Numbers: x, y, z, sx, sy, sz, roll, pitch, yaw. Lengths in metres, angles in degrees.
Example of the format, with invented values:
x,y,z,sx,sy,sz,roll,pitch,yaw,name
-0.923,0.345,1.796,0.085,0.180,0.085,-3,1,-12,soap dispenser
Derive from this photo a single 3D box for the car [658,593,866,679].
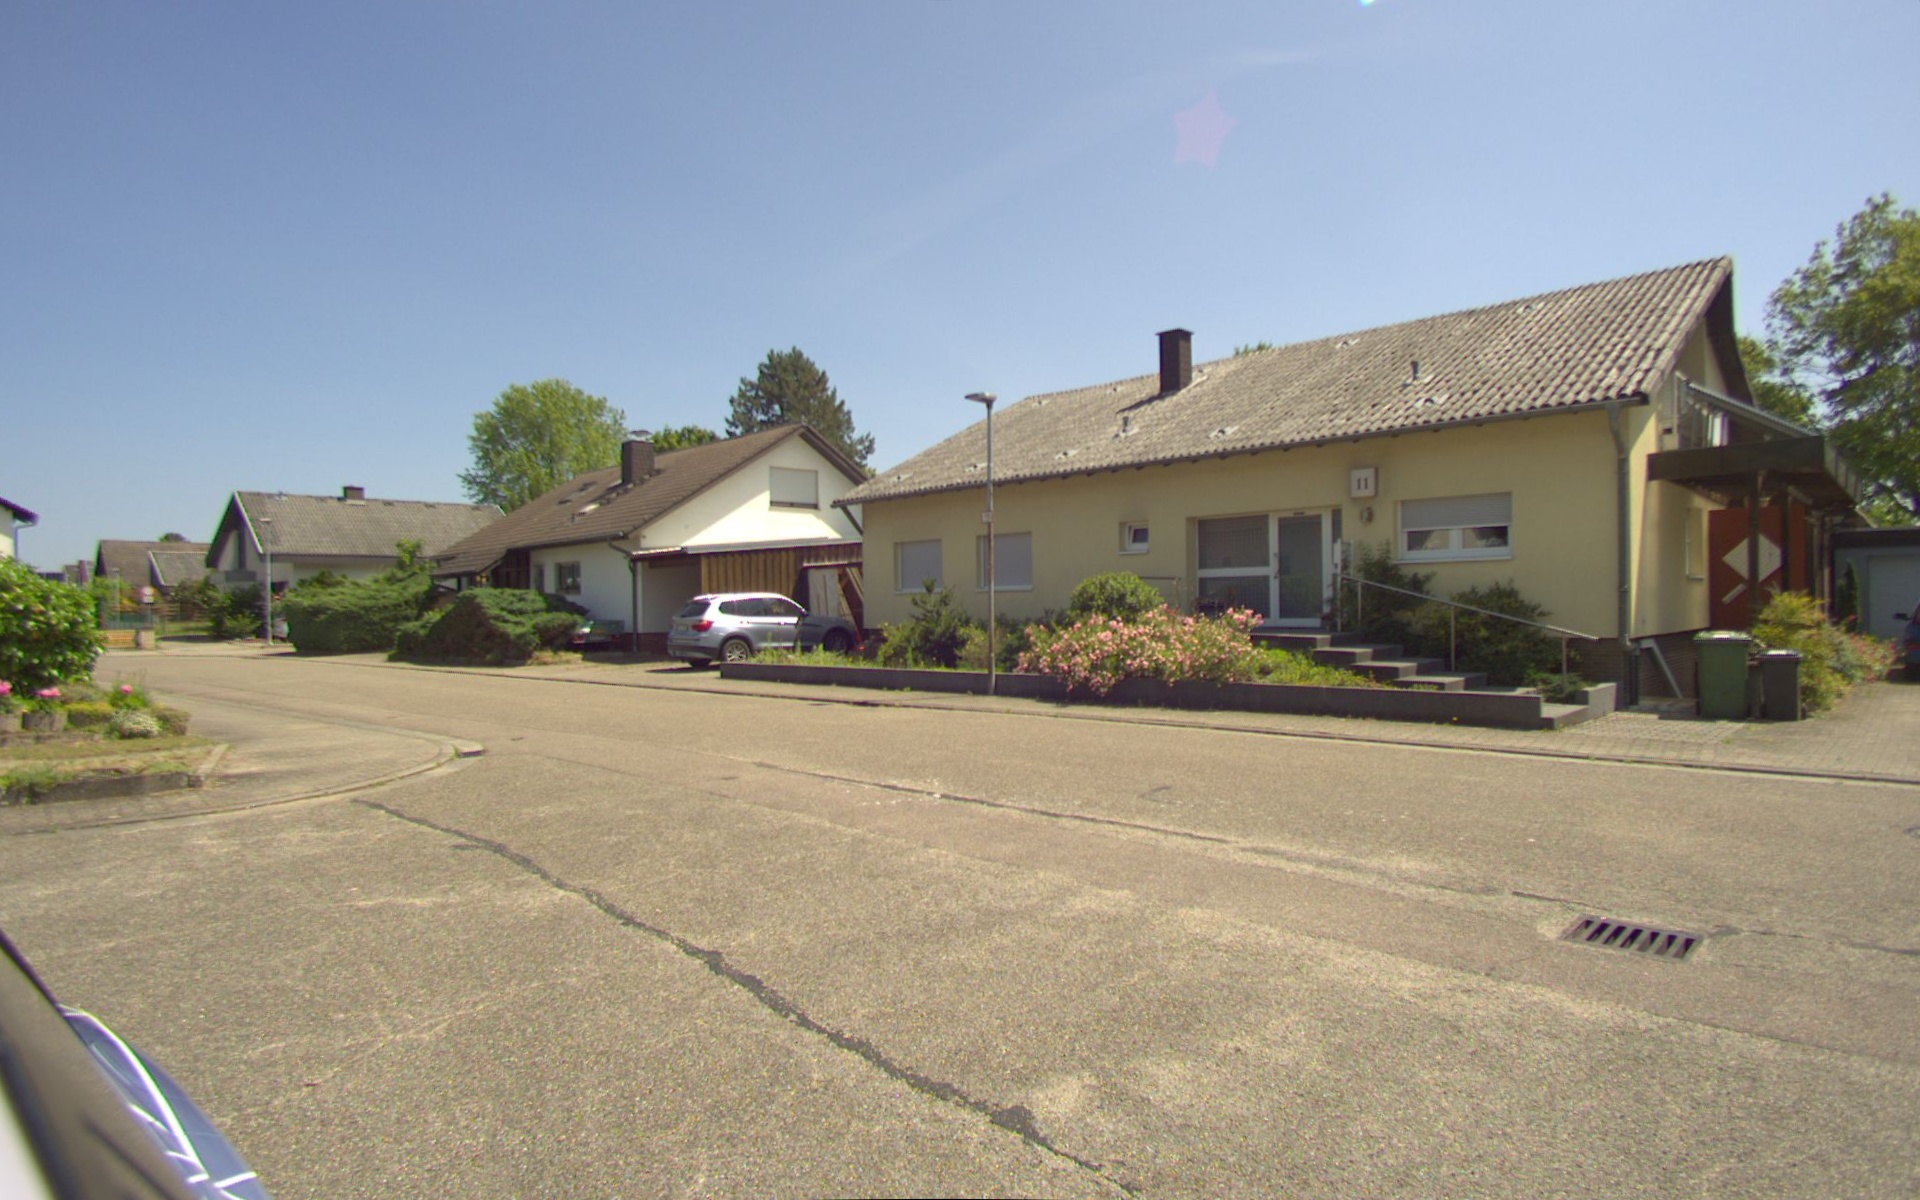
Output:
x,y,z,sx,sy,sz,roll,pitch,yaw,name
-4.577,0.782,23.859,4.572,1.715,1.711,-3,1,-42,car

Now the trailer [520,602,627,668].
x,y,z,sx,sy,sz,roll,pitch,yaw,name
-10.849,0.937,28.328,1.569,1.685,3.298,-3,1,-45,trailer

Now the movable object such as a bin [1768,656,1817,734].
x,y,z,sx,sy,sz,roll,pitch,yaw,name
10.069,1.138,12.251,0.407,0.898,0.421,-2,-2,37,movable object such as a bin

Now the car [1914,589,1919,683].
x,y,z,sx,sy,sz,roll,pitch,yaw,name
17.144,0.562,16.953,1.620,1.466,3.207,-1,1,45,car

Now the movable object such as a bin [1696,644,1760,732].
x,y,z,sx,sy,sz,roll,pitch,yaw,name
9.614,1.084,12.680,0.592,1.049,0.485,-2,-2,38,movable object such as a bin
